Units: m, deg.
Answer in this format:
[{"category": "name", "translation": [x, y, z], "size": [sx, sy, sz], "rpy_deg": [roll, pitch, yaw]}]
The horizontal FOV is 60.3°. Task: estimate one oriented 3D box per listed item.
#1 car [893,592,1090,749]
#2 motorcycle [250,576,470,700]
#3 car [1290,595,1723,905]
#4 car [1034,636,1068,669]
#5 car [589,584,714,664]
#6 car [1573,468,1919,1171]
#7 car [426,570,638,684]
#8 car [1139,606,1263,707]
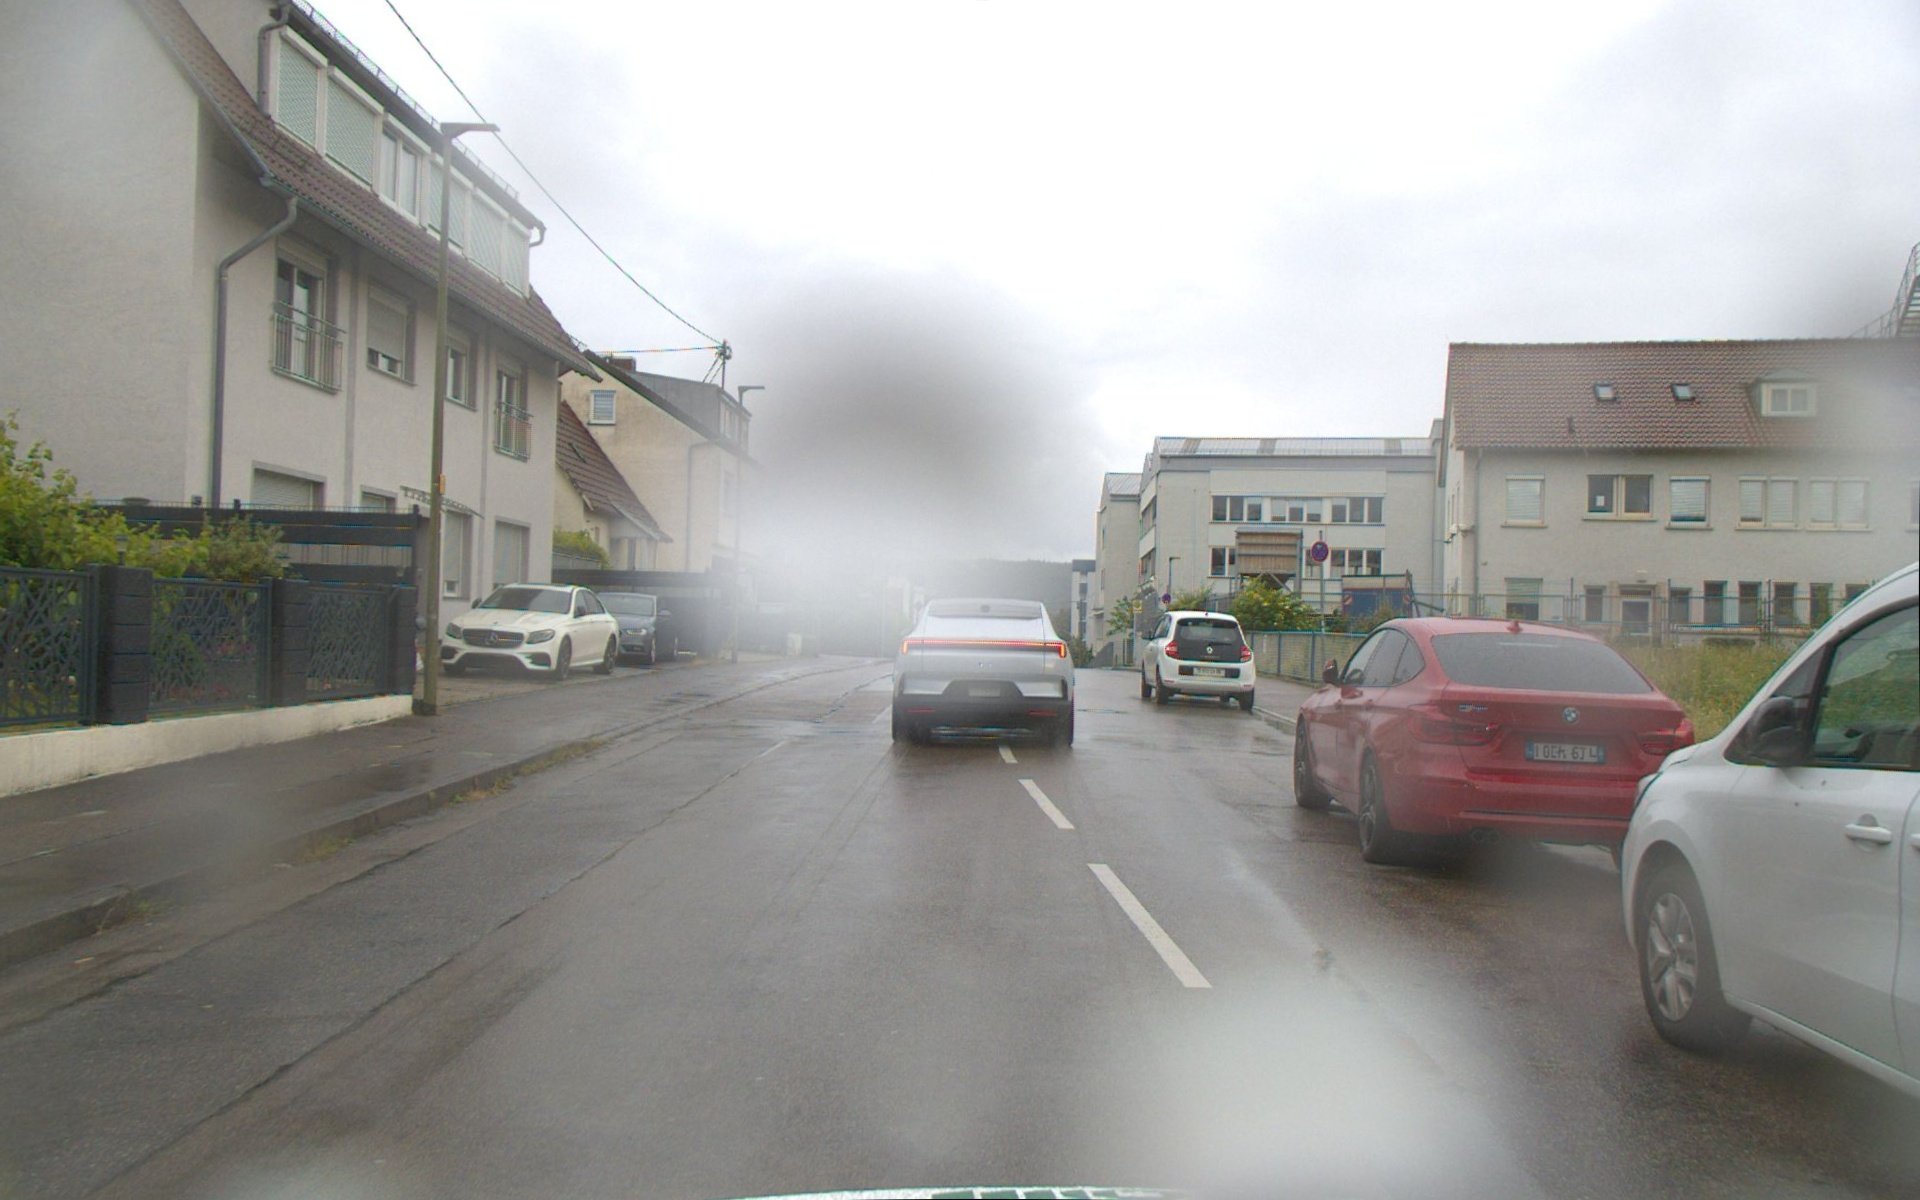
[{"category": "car", "translation": [0.269, 0.712, 19.037], "size": [1.953, 1.528, 4.668], "rpy_deg": [2, 0, -1]}, {"category": "motorcycle", "translation": [-7.238, 0.450, 20.020], "size": [2.314, 1.295, 0.736], "rpy_deg": [4, 0, 2]}, {"category": "car", "translation": [3.422, 0.813, 11.294], "size": [1.608, 1.602, 4.645], "rpy_deg": [3, 0, 3]}, {"category": "car", "translation": [6.050, 3.519, 110.092], "size": [1.953, 2.049, 3.998], "rpy_deg": [1, -4, -2]}, {"category": "car", "translation": [-6.311, 0.465, 34.300], "size": [1.790, 1.392, 4.568], "rpy_deg": [5, 0, -2]}, {"category": "car", "translation": [3.432, 0.611, 4.677], "size": [1.732, 1.857, 4.575], "rpy_deg": [3, 0, 1]}, {"category": "car", "translation": [-6.840, 0.414, 27.044], "size": [1.953, 1.536, 4.896], "rpy_deg": [5, 0, 2]}, {"category": "car", "translation": [4.130, 0.931, 28.806], "size": [1.647, 1.584, 3.675], "rpy_deg": [3, 0, 1]}]
